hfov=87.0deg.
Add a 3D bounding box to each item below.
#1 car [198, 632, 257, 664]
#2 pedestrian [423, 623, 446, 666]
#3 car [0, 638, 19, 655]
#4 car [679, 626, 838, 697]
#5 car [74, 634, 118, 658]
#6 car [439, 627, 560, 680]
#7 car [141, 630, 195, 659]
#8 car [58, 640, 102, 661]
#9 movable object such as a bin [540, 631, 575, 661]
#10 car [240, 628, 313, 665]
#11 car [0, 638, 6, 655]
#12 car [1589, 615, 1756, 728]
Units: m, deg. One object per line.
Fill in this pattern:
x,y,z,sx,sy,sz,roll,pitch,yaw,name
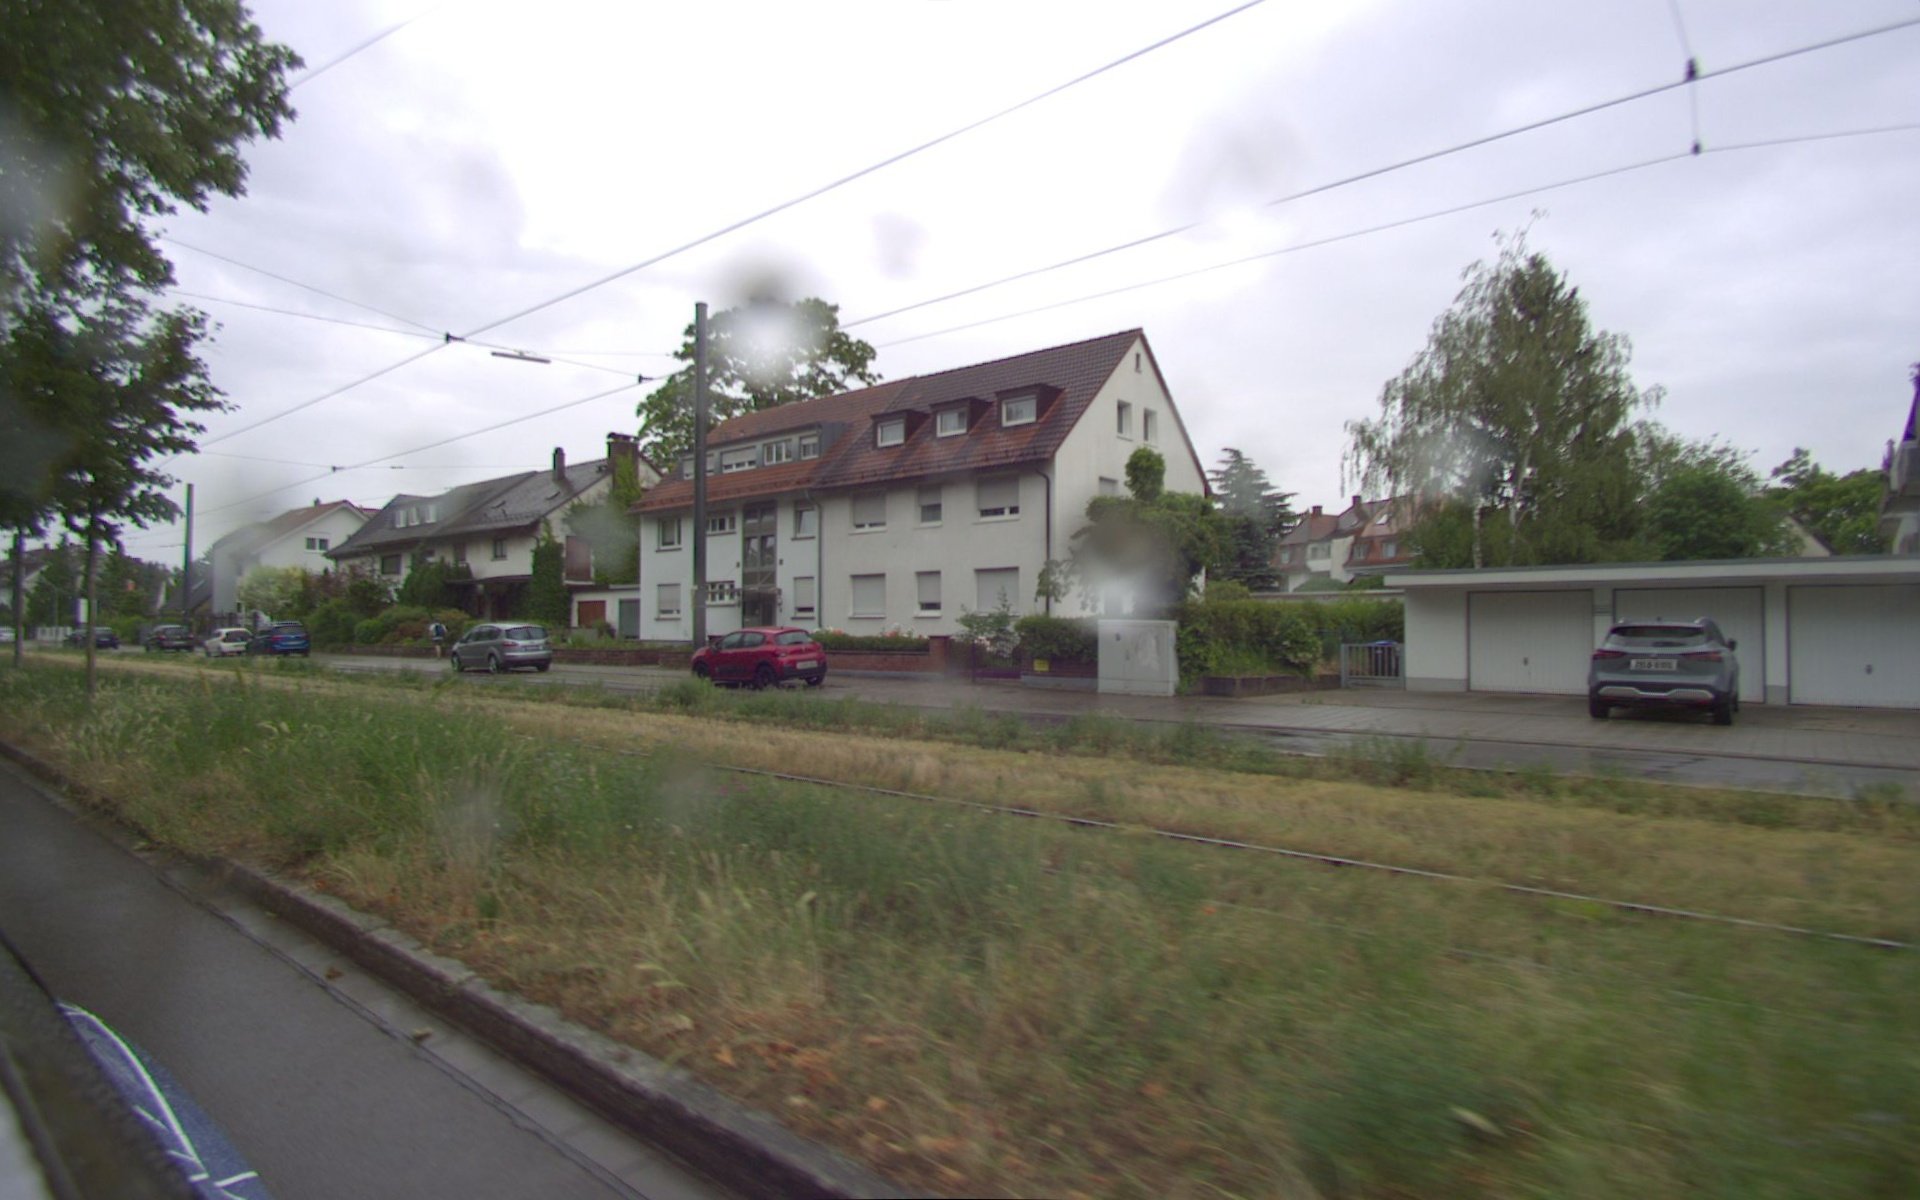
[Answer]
-38.896,2.513,53.708,3.598,1.540,1.696,-2,0,40,car
-22.332,1.893,43.033,0.868,1.781,0.592,-2,-2,40,pedestrian
-87.914,4.264,92.910,3.851,1.527,1.737,-2,0,40,car
-5.081,1.488,25.243,3.971,1.558,1.822,-2,0,41,car
-61.488,3.261,71.997,3.851,1.527,1.737,-2,0,40,car
-15.469,1.756,33.899,4.682,1.626,1.973,-2,-1,41,car
-47.800,2.674,61.061,4.107,1.626,1.737,-2,0,40,car
-64.966,3.682,74.668,3.998,1.510,1.869,-2,-3,41,car
-17.742,2.015,44.610,0.739,1.308,1.241,-2,-2,41,movable object such as a bin
-33.431,2.242,49.449,4.178,1.719,1.826,-2,-1,39,car
-91.601,4.404,95.573,3.851,1.527,1.737,-2,0,40,car
11.602,1.082,16.379,1.891,1.588,3.947,-2,-3,39,car
